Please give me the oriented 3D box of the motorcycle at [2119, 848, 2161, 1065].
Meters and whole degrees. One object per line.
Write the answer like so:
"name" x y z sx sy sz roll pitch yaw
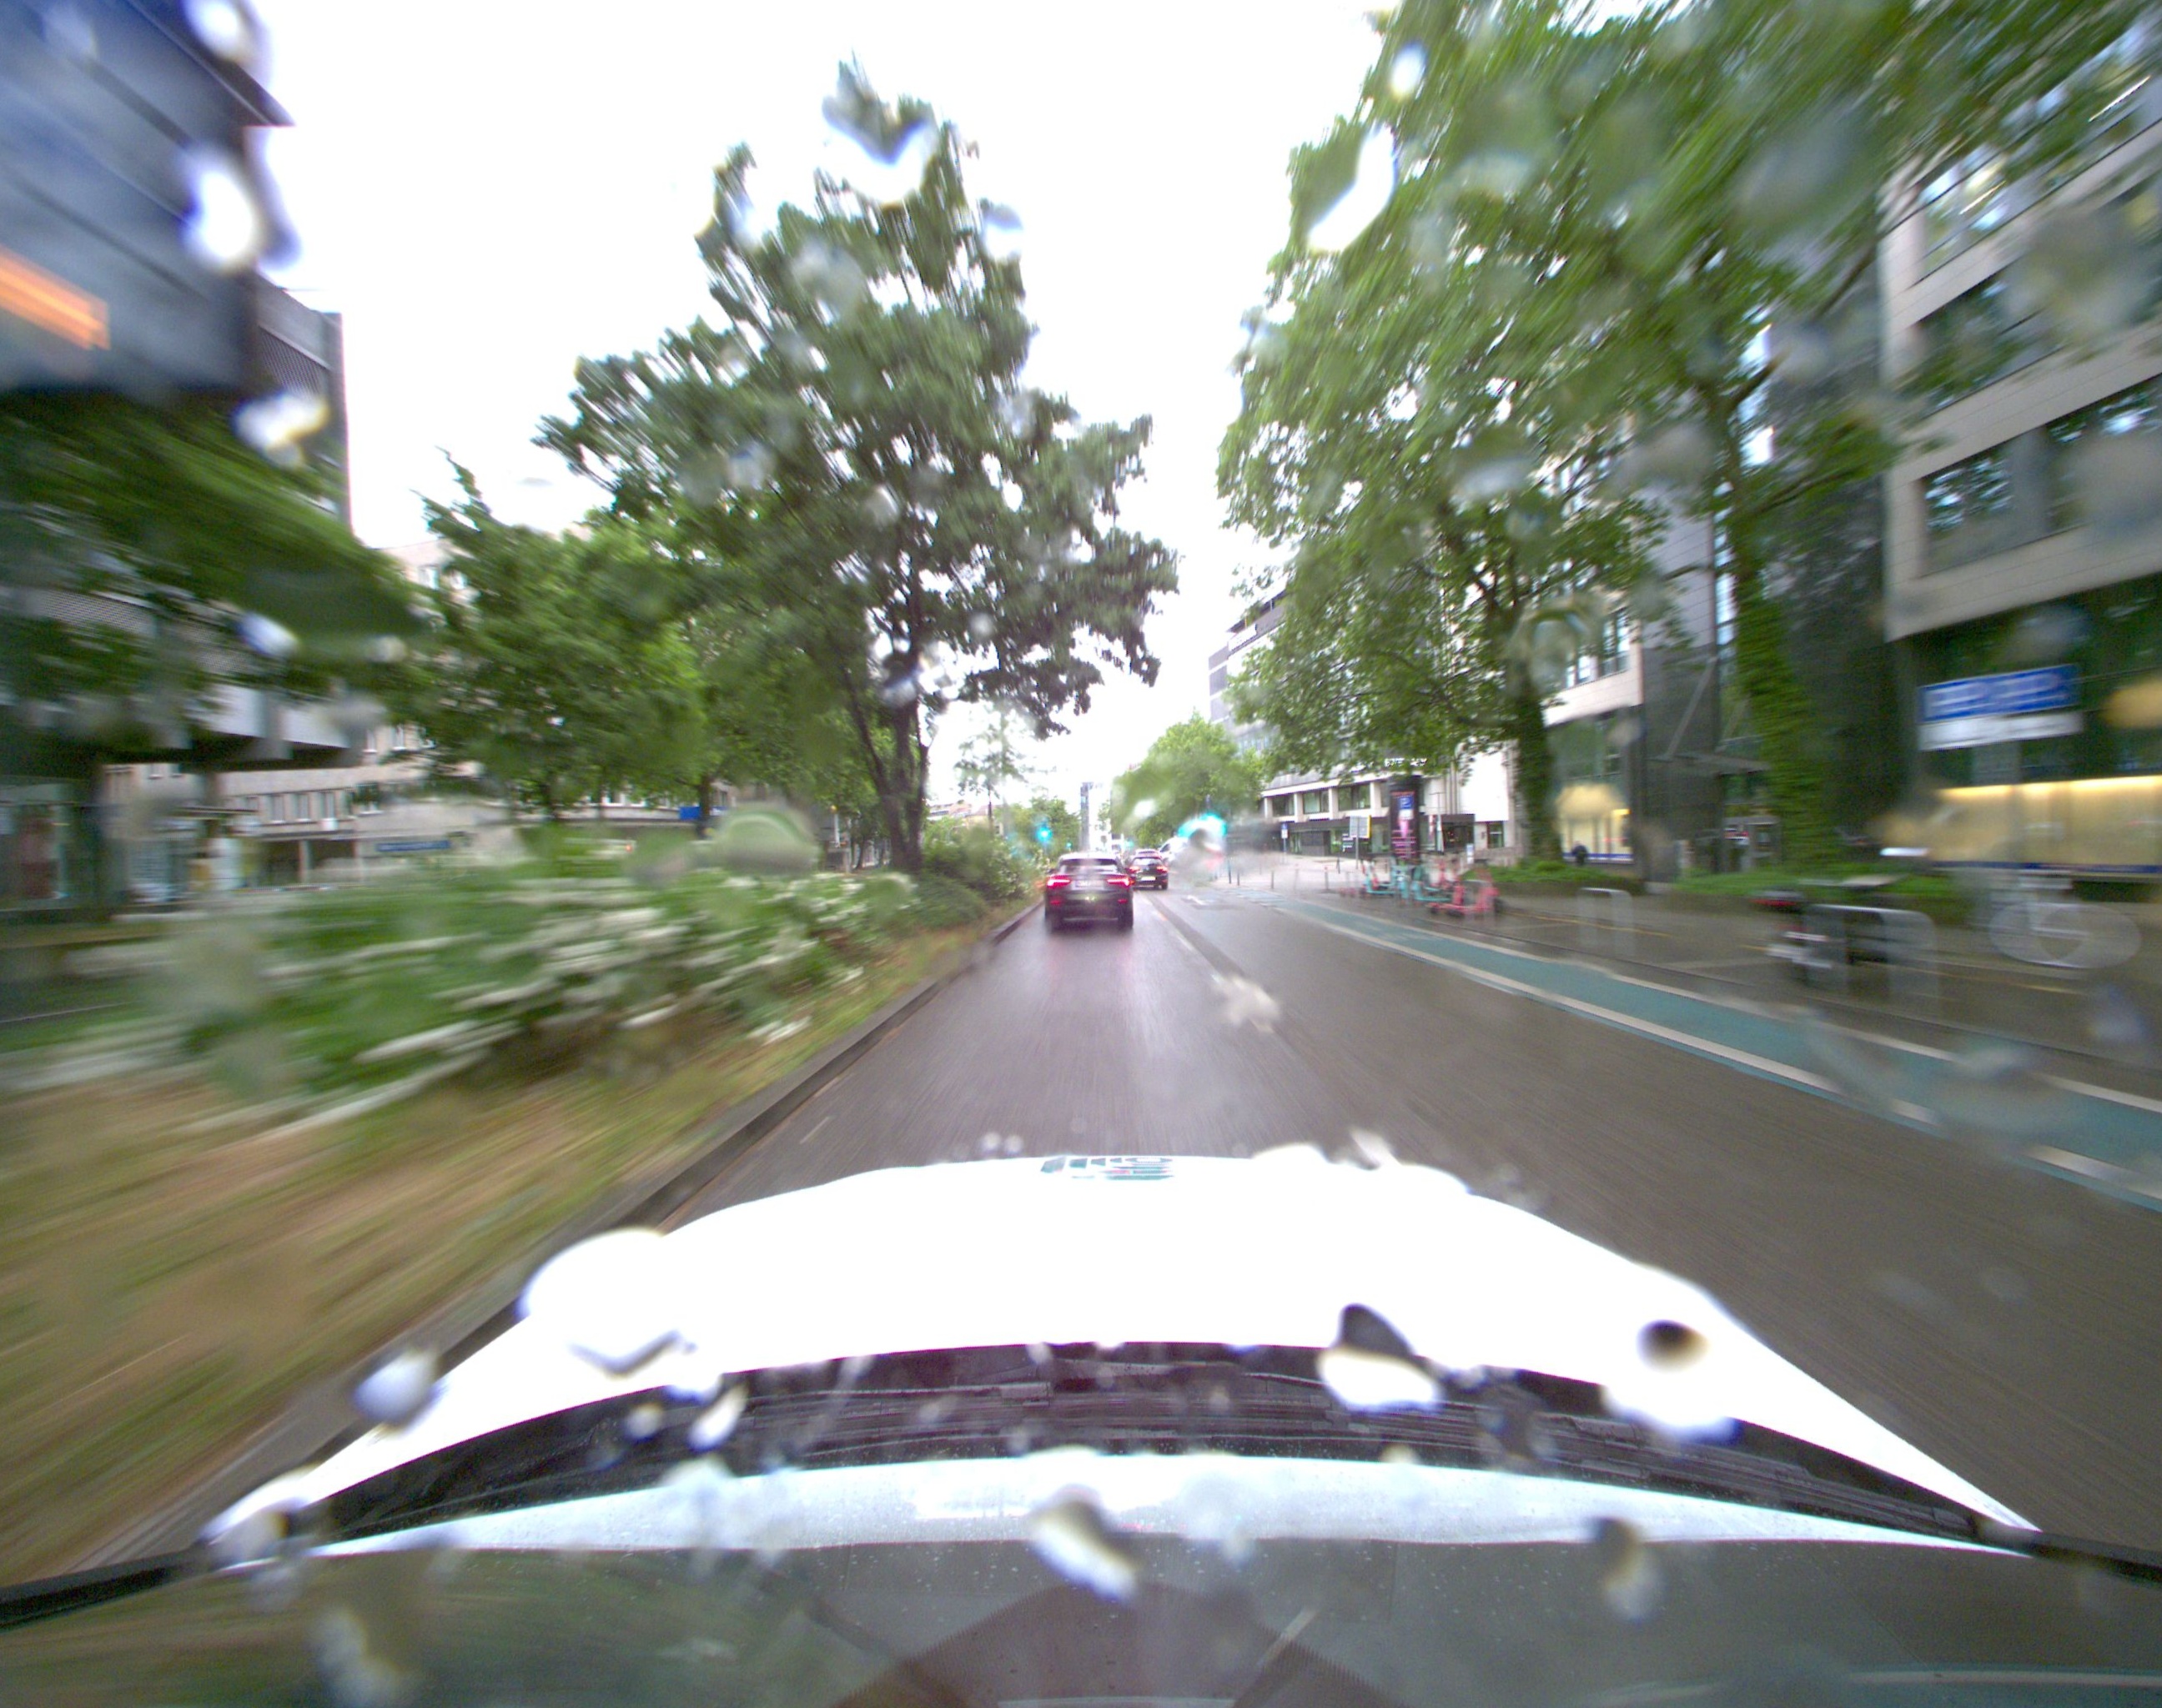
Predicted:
"motorcycle" 7.949 0.626 5.413 1.962 1.373 0.724 -3 2 -20

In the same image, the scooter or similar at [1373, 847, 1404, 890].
"scooter or similar" 9.746 0.449 25.856 0.486 1.259 1.294 -3 2 1

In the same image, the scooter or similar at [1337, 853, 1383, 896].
"scooter or similar" 8.636 0.640 25.243 1.280 1.259 0.491 -3 1 13

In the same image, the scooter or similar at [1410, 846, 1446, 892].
"scooter or similar" 10.270 0.424 24.143 0.486 1.259 1.294 -3 2 1

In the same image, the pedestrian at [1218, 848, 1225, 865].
"pedestrian" 15.543 0.282 90.117 0.551 1.805 0.761 -1 -1 -2

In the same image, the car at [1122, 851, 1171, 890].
"car" 2.732 0.659 34.816 1.843 1.523 4.040 -1 0 1

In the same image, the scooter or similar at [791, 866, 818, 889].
"scooter or similar" -13.804 1.188 40.642 1.179 1.113 0.434 -1 0 -3

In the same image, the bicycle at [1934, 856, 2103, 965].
"bicycle" 10.017 0.549 8.785 0.631 1.028 1.774 -1 0 30

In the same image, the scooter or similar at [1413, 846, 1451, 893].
"scooter or similar" 9.860 0.416 22.917 0.486 1.259 1.294 -3 2 1

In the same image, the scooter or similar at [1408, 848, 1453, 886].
"scooter or similar" 11.332 0.437 26.464 0.490 1.198 1.281 -1 -1 -29

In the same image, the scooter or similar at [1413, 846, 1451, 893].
"scooter or similar" 9.860 0.416 22.917 0.486 1.259 1.294 -3 2 1

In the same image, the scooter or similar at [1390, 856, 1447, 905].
"scooter or similar" 9.010 0.702 21.771 1.284 1.235 0.490 -3 1 3

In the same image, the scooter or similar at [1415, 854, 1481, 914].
"scooter or similar" 8.513 0.677 18.896 1.289 1.278 0.535 -3 1 -10

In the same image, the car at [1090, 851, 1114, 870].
"car" 1.760 0.510 68.199 1.843 1.523 4.040 -1 0 1

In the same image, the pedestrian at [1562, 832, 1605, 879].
"pedestrian" 19.961 0.064 32.350 0.914 1.850 1.277 -1 -1 2

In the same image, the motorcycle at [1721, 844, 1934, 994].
"motorcycle" 7.941 0.638 8.671 1.959 1.373 0.725 -3 1 -15

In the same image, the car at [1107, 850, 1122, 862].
"car" 4.367 0.277 106.846 1.843 1.523 4.040 -1 0 1

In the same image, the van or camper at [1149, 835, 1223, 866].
"van or camper" 9.236 -0.325 71.918 6.008 2.558 2.117 -2 0 28

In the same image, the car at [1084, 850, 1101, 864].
"car" 1.361 0.352 94.916 1.843 1.523 4.040 -1 0 1

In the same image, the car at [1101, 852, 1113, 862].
"car" 3.878 0.425 122.191 1.843 1.523 4.040 -1 0 1

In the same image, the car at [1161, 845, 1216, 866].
"car" 9.075 0.148 68.662 4.217 1.667 1.829 -1 0 27

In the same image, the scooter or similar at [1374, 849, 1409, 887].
"scooter or similar" 10.171 0.453 26.706 0.487 1.198 1.290 -1 -1 -8

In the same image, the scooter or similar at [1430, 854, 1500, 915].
"scooter or similar" 8.569 0.669 18.210 1.283 1.278 0.538 -3 1 5

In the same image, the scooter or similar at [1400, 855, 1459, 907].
"scooter or similar" 8.992 0.694 21.027 1.284 1.235 0.490 -3 1 3

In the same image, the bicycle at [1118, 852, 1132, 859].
"bicycle" 8.135 0.246 150.495 2.335 1.312 0.708 -1 0 -7

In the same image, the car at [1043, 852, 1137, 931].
"car" 0.200 0.747 18.129 1.843 1.523 4.039 -1 0 1

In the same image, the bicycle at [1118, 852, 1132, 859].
"bicycle" 8.050 0.267 148.448 2.335 1.312 0.708 -1 0 -7

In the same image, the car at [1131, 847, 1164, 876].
"car" 4.160 0.456 51.290 1.843 1.669 4.040 -1 0 1

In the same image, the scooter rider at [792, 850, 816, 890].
"scooter rider" -13.847 0.778 40.698 0.897 1.940 0.757 -1 0 -2

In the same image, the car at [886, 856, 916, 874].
"car" -16.639 1.018 75.344 1.763 1.434 4.669 -5 0 -2

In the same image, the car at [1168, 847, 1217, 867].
"car" 9.036 0.214 65.924 3.618 1.547 1.723 -1 0 20

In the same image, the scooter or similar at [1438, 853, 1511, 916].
"scooter or similar" 8.573 0.664 17.766 1.283 1.278 0.538 -3 1 5

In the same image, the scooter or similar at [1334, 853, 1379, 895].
"scooter or similar" 8.729 0.646 25.853 1.280 1.259 0.491 -3 1 13

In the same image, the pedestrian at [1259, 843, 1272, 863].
"pedestrian" 16.341 -0.092 72.149 0.804 1.696 1.185 -1 0 -4

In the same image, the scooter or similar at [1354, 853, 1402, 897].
"scooter or similar" 8.995 0.630 24.704 1.280 1.259 0.491 -3 1 13
